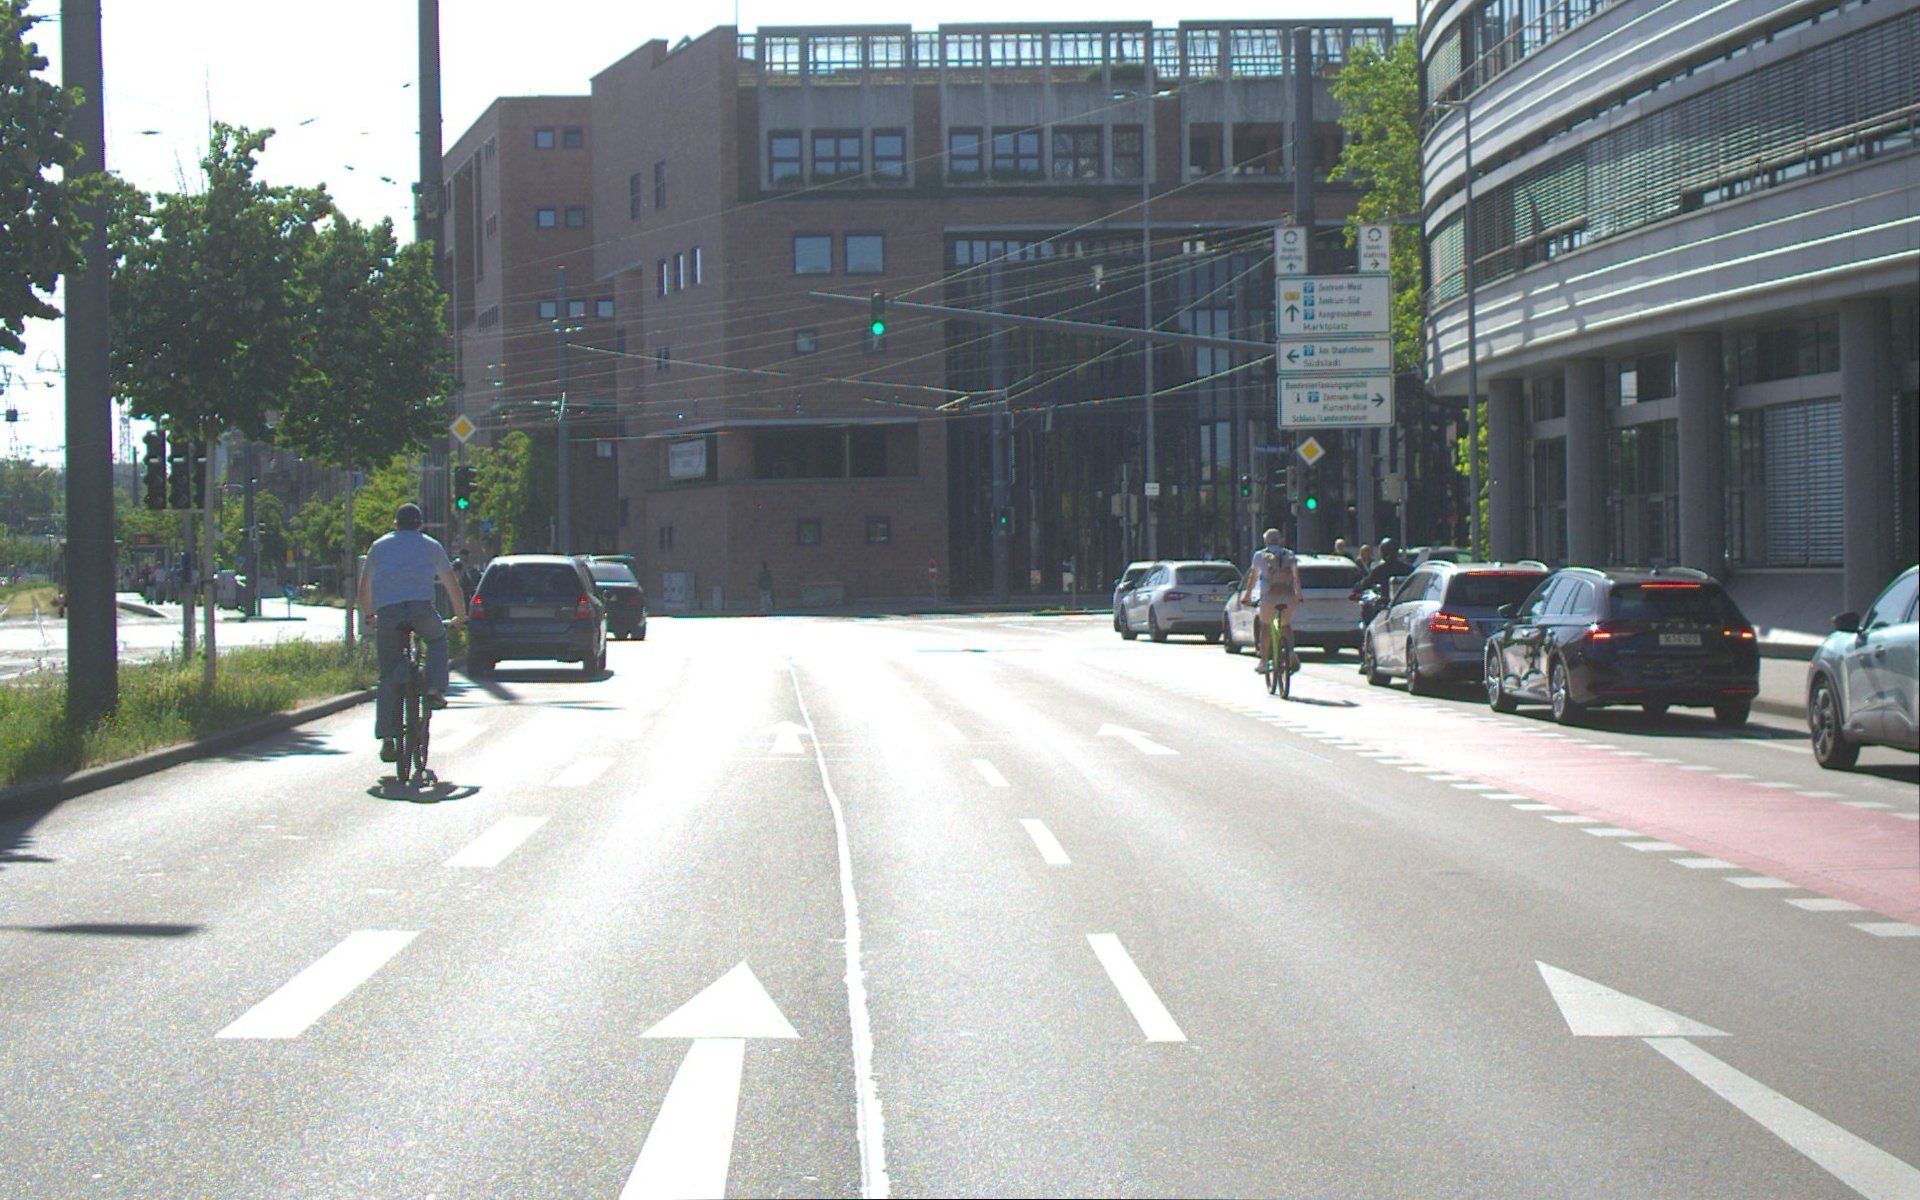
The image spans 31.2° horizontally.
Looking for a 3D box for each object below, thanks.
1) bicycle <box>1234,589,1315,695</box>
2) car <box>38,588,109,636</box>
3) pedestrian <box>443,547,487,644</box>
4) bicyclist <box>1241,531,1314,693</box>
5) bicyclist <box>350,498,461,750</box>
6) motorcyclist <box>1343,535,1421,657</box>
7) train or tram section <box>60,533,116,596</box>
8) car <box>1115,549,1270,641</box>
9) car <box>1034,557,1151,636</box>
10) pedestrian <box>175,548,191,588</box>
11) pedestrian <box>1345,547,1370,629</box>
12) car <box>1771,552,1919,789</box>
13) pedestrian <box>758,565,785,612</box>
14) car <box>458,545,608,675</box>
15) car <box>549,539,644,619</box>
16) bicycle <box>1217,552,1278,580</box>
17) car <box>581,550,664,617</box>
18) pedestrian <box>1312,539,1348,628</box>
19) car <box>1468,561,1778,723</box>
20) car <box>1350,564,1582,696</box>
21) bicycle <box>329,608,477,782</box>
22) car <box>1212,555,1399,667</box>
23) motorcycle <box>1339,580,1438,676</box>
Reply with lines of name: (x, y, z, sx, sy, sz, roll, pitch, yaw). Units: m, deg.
bicycle: (3.494, 0.452, 38.313, 0.649, 1.106, 1.758, -1, 2, -2)
car: (-33.618, 0.427, 130.299, 2.261, 1.721, 3.945, -1, 1, -19)
pedestrian: (-8.997, -0.082, 62.491, 0.669, 1.747, 0.769, -1, 1, -16)
bicyclist: (3.502, 0.120, 38.014, 0.649, 1.746, 1.045, -1, 1, -2)
bicyclist: (-3.744, 0.153, 23.265, 0.617, 1.664, 1.020, 1, 1, -3)
motorcyclist: (5.456, -0.053, 44.481, 0.829, 1.556, 0.942, 0, 0, -4)
train or tram section: (-43.543, -1.768, 171.868, 2.326, 2.993, 13.164, -1, 1, -13)
car: (4.146, -0.114, 61.905, 1.905, 1.536, 4.139, 1, 1, -9)
car: (2.786, -0.103, 73.241, 1.906, 1.578, 4.139, 1, 1, -6)
pedestrian: (-32.066, -1.324, 141.869, 0.538, 1.649, 0.707, -1, 0, -18)
pedestrian: (8.114, -0.255, 70.125, 0.427, 1.640, 0.562, -2, 2, 10)
car: (6.992, 0.435, 23.335, 1.721, 1.519, 4.399, -1, 1, -3)
pedestrian: (-6.360, -0.399, 115.898, 0.617, 1.558, 0.987, -1, 0, -18)
car: (-5.442, 0.101, 44.172, 1.726, 1.558, 3.678, -1, 1, -4)
car: (-6.943, -0.414, 65.674, 1.726, 1.444, 4.522, -1, 1, -6)
bicycle: (8.590, -1.011, 102.743, 1.668, 0.804, 0.673, -1, 0, -14)
car: (-9.127, -0.464, 92.788, 1.781, 1.697, 4.139, 1, 1, -12)
pedestrian: (7.555, -0.337, 70.233, 0.638, 1.792, 0.608, -2, 2, 10)
car: (6.201, 0.344, 32.699, 1.721, 1.417, 4.638, 0, 1, -4)
car: (5.721, 0.299, 39.413, 1.721, 1.391, 4.788, -1, 1, -3)
bicycle: (-3.765, 0.614, 23.422, 0.686, 1.066, 2.697, 1, 1, -3)
car: (5.195, 0.133, 52.192, 1.905, 1.578, 4.139, 1, 1, -7)
motorcycle: (5.511, 0.347, 44.356, 0.829, 1.197, 2.390, 0, 0, -4)
